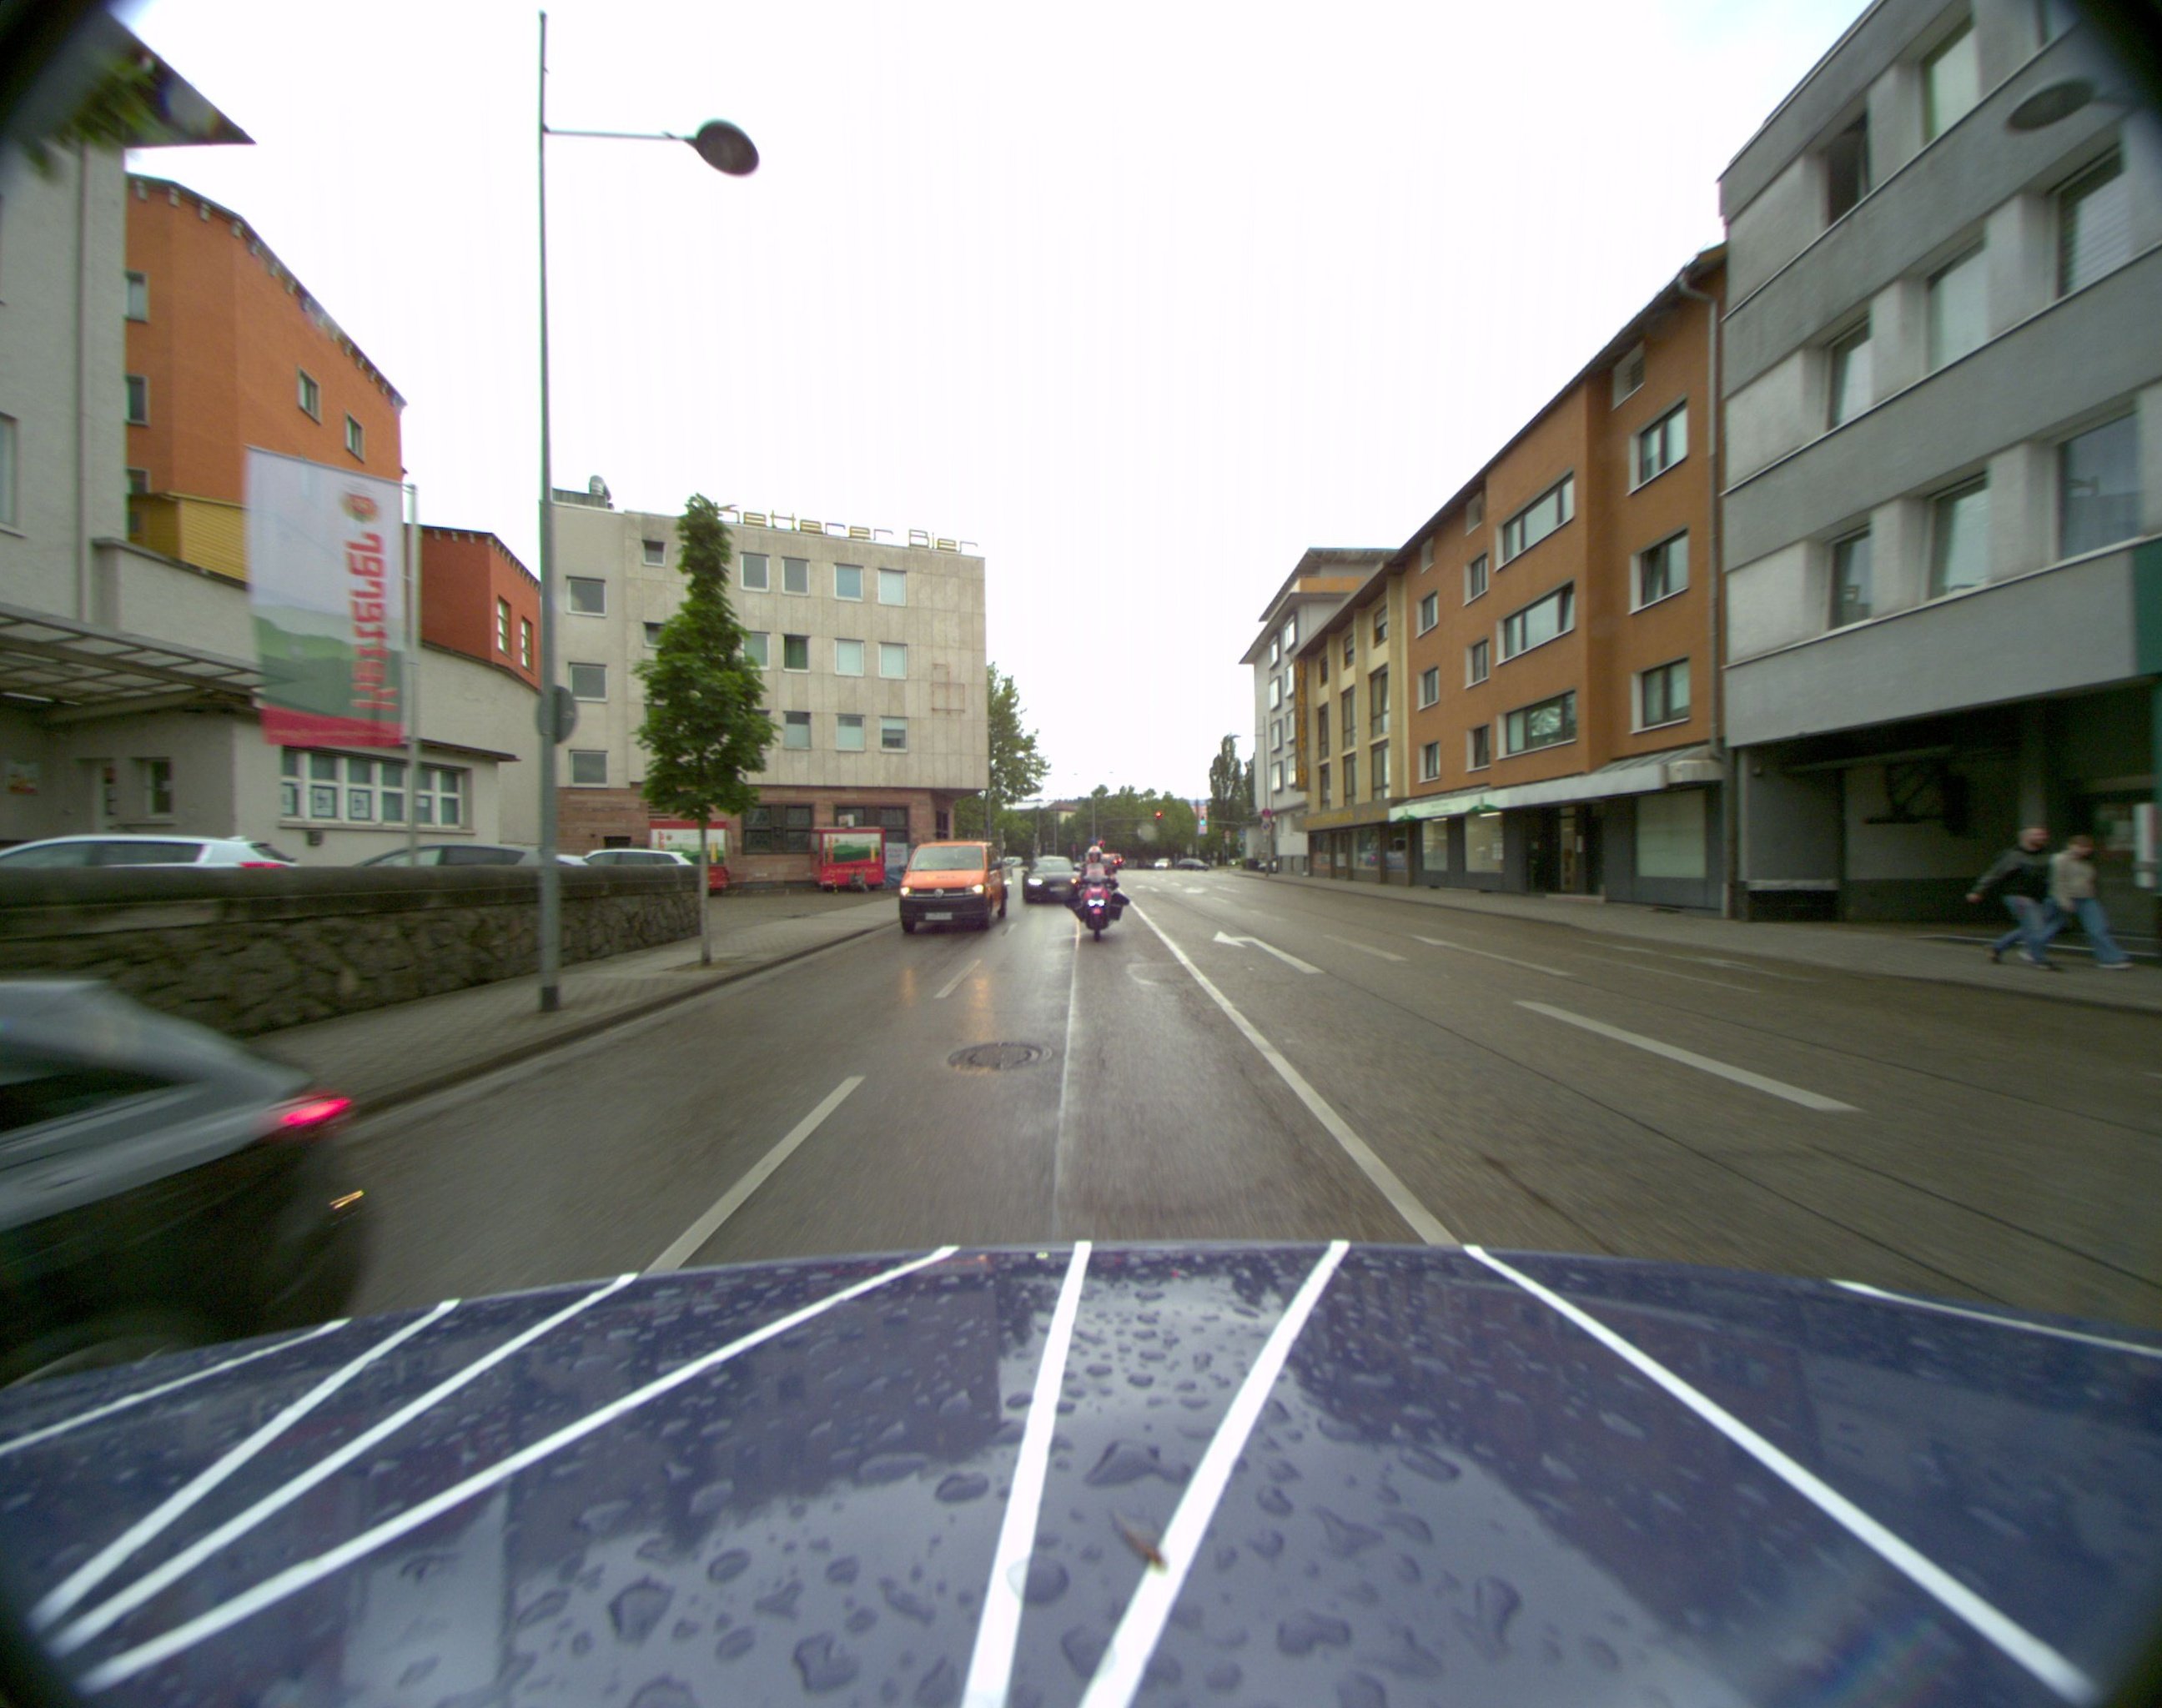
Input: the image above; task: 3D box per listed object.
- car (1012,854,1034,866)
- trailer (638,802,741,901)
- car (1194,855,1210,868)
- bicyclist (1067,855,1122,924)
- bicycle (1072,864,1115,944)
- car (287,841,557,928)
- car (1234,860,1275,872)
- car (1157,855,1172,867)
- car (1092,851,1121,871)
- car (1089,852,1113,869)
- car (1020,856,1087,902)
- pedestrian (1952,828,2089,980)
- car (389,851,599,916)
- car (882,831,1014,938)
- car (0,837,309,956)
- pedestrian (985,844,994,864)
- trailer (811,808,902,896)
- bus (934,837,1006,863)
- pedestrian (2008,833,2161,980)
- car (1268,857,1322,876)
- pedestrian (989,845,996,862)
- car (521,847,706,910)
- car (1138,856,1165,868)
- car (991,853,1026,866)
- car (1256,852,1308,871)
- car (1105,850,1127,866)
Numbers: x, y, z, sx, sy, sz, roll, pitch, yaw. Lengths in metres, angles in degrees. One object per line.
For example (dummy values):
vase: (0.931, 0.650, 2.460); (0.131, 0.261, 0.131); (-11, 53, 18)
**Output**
car: (-11.015, 1.204, 145.193); (1.968, 2.306, 5.022); (0, -1, 24)
trailer: (-14.521, -0.130, 28.595); (2.753, 3.288, 6.061); (-1, 1, -21)
car: (14.674, 0.866, 92.346); (1.803, 1.425, 4.399); (-2, 0, 7)
bicyclist: (0.250, 0.635, 13.932); (0.963, 1.219, 0.715); (-1, 1, 2)
bicycle: (0.259, 0.881, 14.265); (0.717, 1.298, 2.427); (-1, 1, 2)
car: (-13.142, 0.570, 15.531); (4.008, 1.573, 1.767); (0, -1, -35)
car: (19.163, 1.324, 83.866); (4.112, 1.358, 1.732); (0, -1, -14)
car: (11.574, 1.000, 105.142); (1.895, 1.567, 4.363); (1, 0, 7)
car: (1.898, 0.533, 58.111); (1.738, 1.431, 4.410); (0, 1, -5)
car: (1.713, 0.564, 64.531); (1.558, 1.389, 3.730); (-3, -1, 8)
car: (-1.044, 0.810, 26.347); (1.898, 1.396, 4.357); (0, 1, -8)
pedestrian: (11.680, 0.594, 9.472); (0.576, 1.778, 0.826); (-5, 1, 1)
car: (-13.902, 0.671, 18.200); (3.848, 1.392, 1.640); (1, -1, -38)
car: (-2.901, 0.597, 17.956); (2.107, 2.077, 5.540); (-2, 0, 0)
car: (-14.395, 0.586, 11.239); (3.989, 1.558, 1.922); (-1, -1, -41)
pedestrian: (-8.788, 0.002, 73.135); (0.743, 1.819, 0.694); (3, 0, -3)
trailer: (-9.165, -0.116, 30.650); (2.640, 3.158, 5.703); (0, 1, -26)
bus: (-14.825, -0.543, 100.952); (9.632, 3.197, 2.710); (1, 0, 27)
pedestrian: (12.270, 0.605, 9.305); (0.631, 1.666, 0.908); (-5, 1, 0)
car: (16.170, 0.949, 57.583); (3.632, 1.330, 1.495); (2, 1, -1)
pedestrian: (-9.035, -0.014, 77.375); (0.559, 1.696, 0.527); (1, 0, -25)
car: (-13.380, 0.659, 21.874); (4.285, 1.639, 1.862); (1, -1, -41)
car: (13.573, 1.545, 146.358); (4.839, 1.931, 1.954); (-4, -1, 31)
car: (-8.120, 0.572, 85.307); (1.799, 1.366, 4.084); (0, 1, -43)
car: (16.576, 0.602, 62.843); (3.822, 1.413, 1.797); (2, 2, 1)
car: (3.542, 0.422, 76.954); (1.758, 1.605, 4.214); (0, 0, 9)
